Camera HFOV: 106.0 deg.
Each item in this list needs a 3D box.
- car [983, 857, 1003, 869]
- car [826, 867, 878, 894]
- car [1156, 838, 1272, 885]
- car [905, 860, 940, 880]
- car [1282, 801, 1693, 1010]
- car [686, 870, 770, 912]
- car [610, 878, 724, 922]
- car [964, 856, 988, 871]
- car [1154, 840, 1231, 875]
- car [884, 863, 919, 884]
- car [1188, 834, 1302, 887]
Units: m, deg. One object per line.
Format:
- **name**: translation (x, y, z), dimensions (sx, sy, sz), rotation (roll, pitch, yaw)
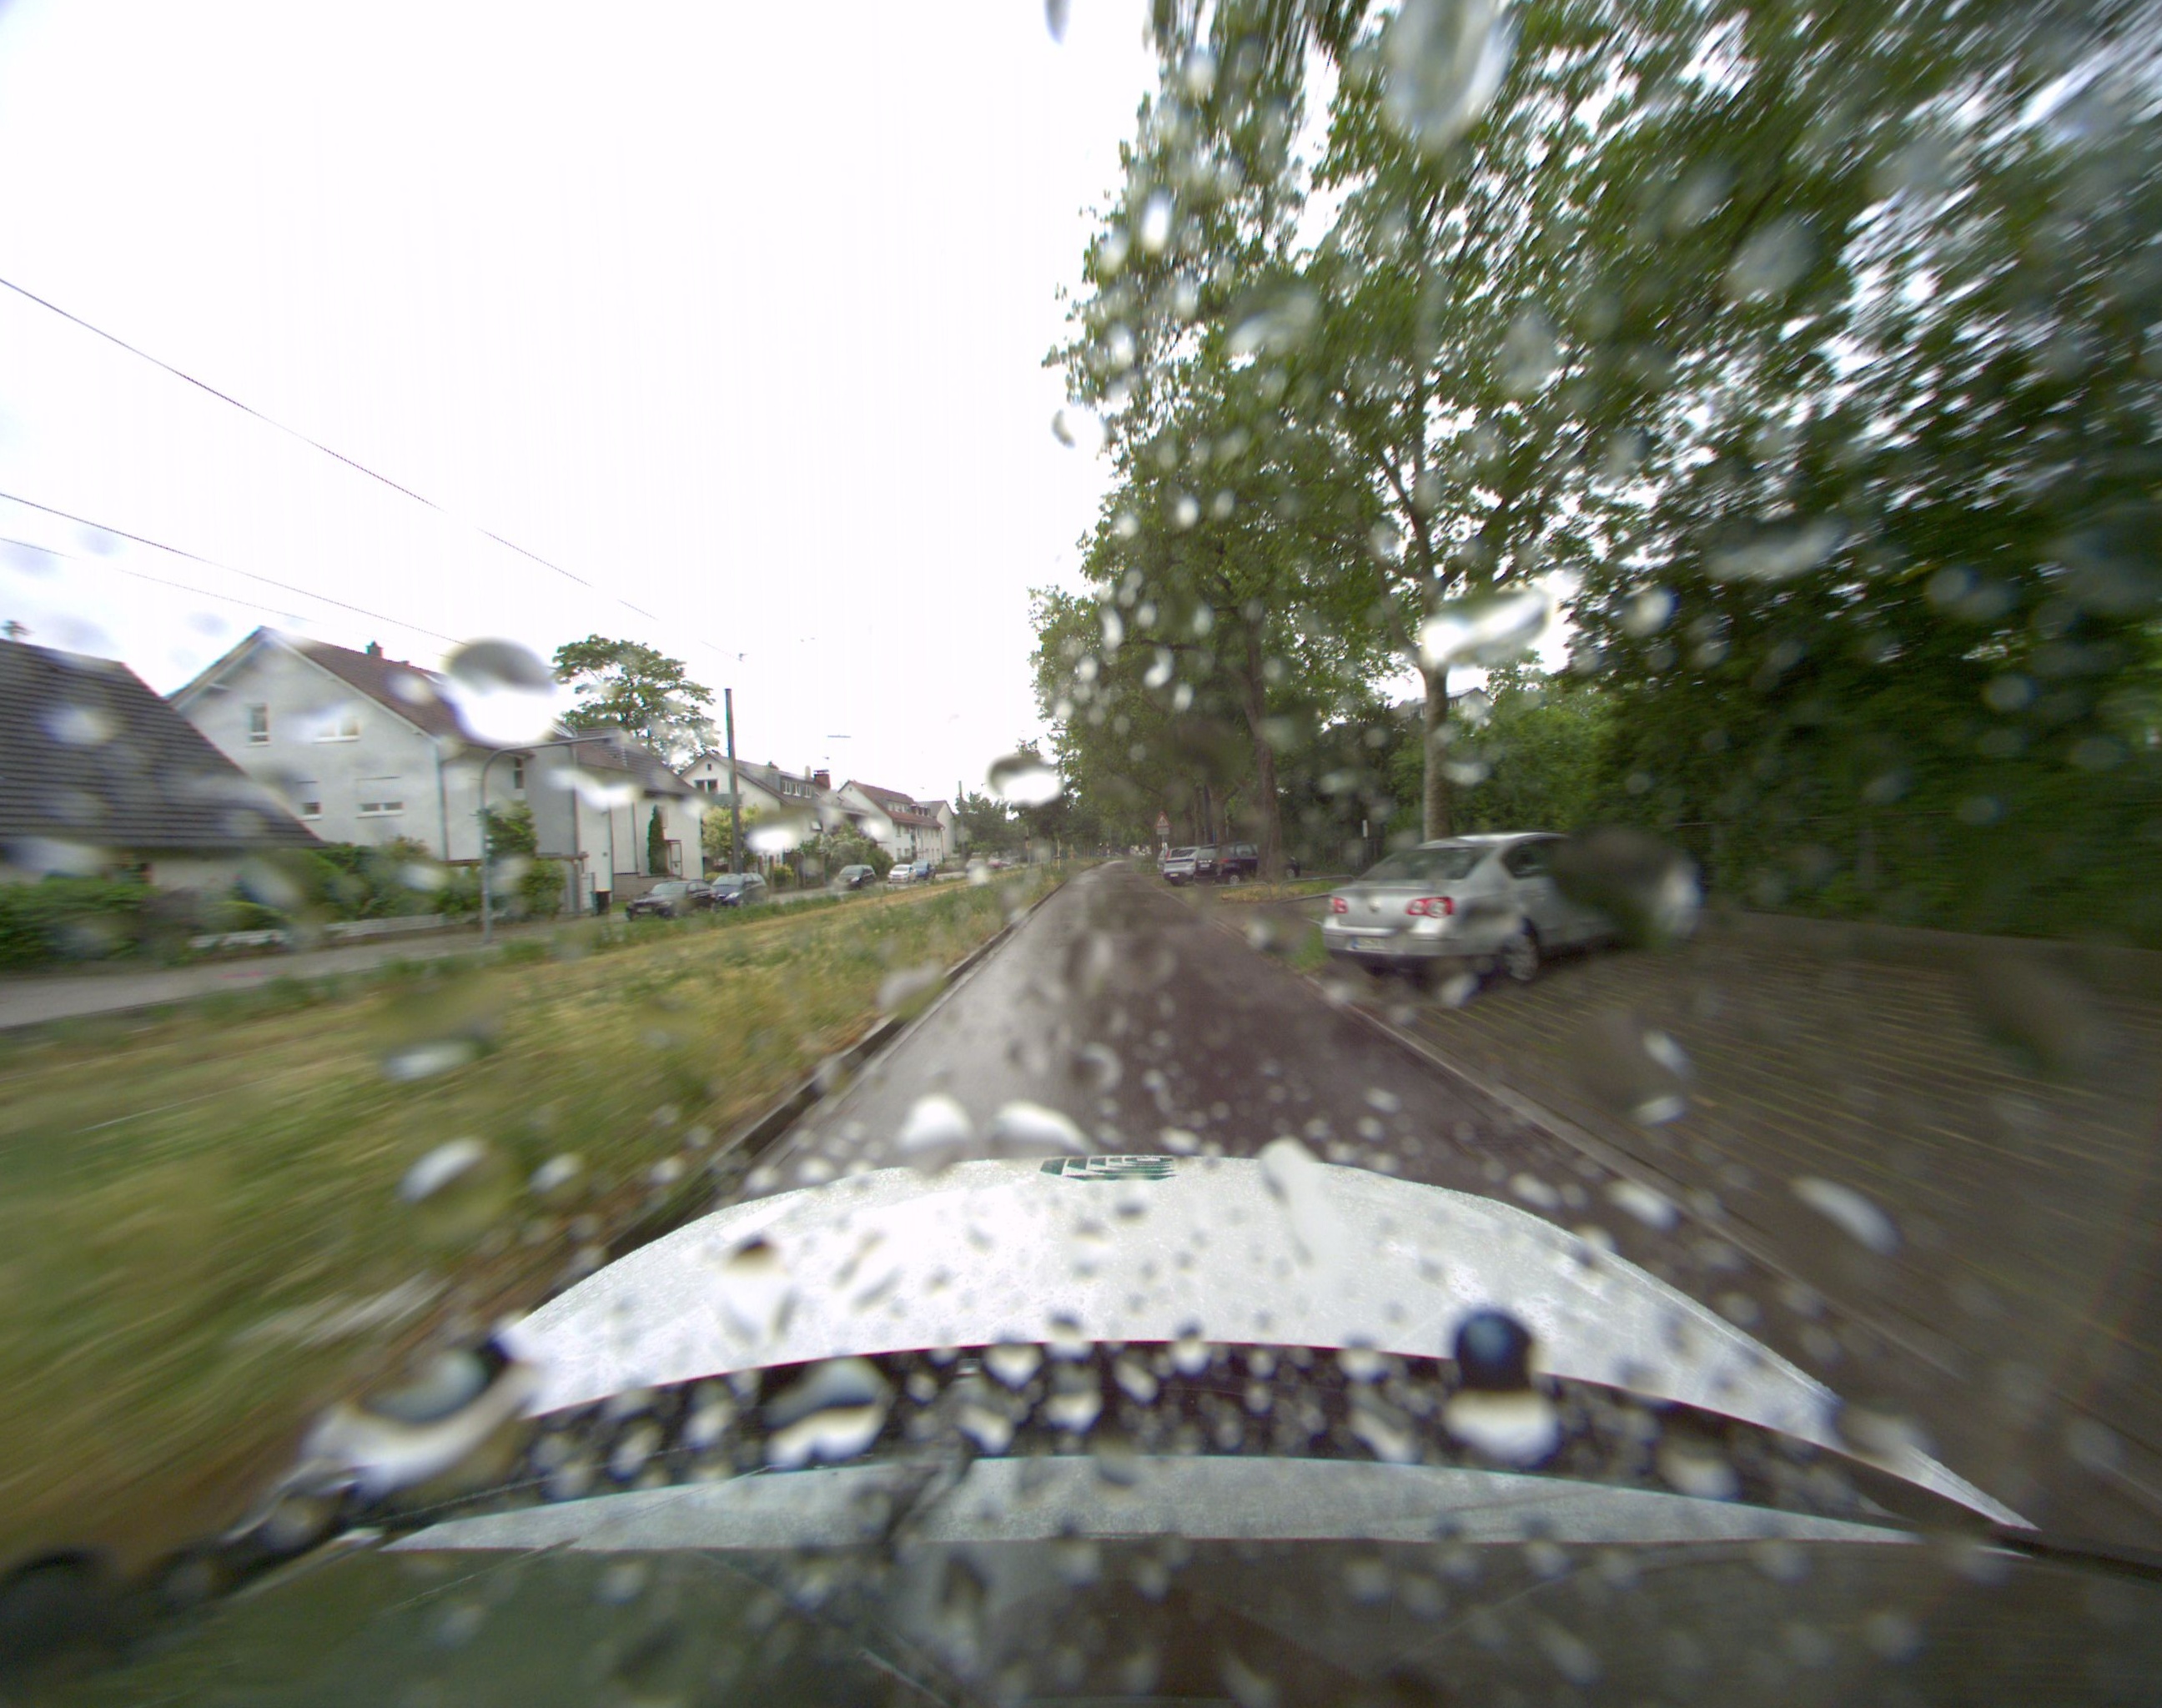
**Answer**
- **car**: translation (-11.817, 1.234, 109.136), dimensions (1.985, 1.488, 4.208), rotation (-1, 1, 3)
- **car**: translation (-14.834, 1.675, 52.997), dimensions (1.985, 1.516, 4.208), rotation (-1, 1, 3)
- **car**: translation (5.673, 0.300, 34.488), dimensions (4.796, 1.668, 1.973), rotation (-4, 0, -35)
- **car**: translation (-13.866, 1.392, 71.530), dimensions (1.985, 1.614, 4.416), rotation (-1, 1, 3)
- **car**: translation (4.633, 0.394, 9.073), dimensions (4.577, 1.544, 1.869), rotation (-6, 2, -31)
- **car**: translation (-15.245, 1.552, 35.433), dimensions (1.867, 1.550, 3.871), rotation (-1, 1, 1)
- **car**: translation (-15.541, 1.676, 30.852), dimensions (1.985, 1.350, 4.243), rotation (-1, 1, 3)
- **car**: translation (-12.265, 1.110, 95.465), dimensions (1.985, 1.581, 4.520), rotation (-1, 1, 3)
- **car**: translation (6.220, 0.194, 45.453), dimensions (3.859, 1.566, 1.612), rotation (-5, 0, -13)
- **car**: translation (-14.239, 1.509, 64.903), dimensions (1.789, 1.488, 3.599), rotation (-1, 1, 3)
- **car**: translation (5.733, 0.225, 28.400), dimensions (3.727, 1.566, 1.603), rotation (-4, 0, -32)
